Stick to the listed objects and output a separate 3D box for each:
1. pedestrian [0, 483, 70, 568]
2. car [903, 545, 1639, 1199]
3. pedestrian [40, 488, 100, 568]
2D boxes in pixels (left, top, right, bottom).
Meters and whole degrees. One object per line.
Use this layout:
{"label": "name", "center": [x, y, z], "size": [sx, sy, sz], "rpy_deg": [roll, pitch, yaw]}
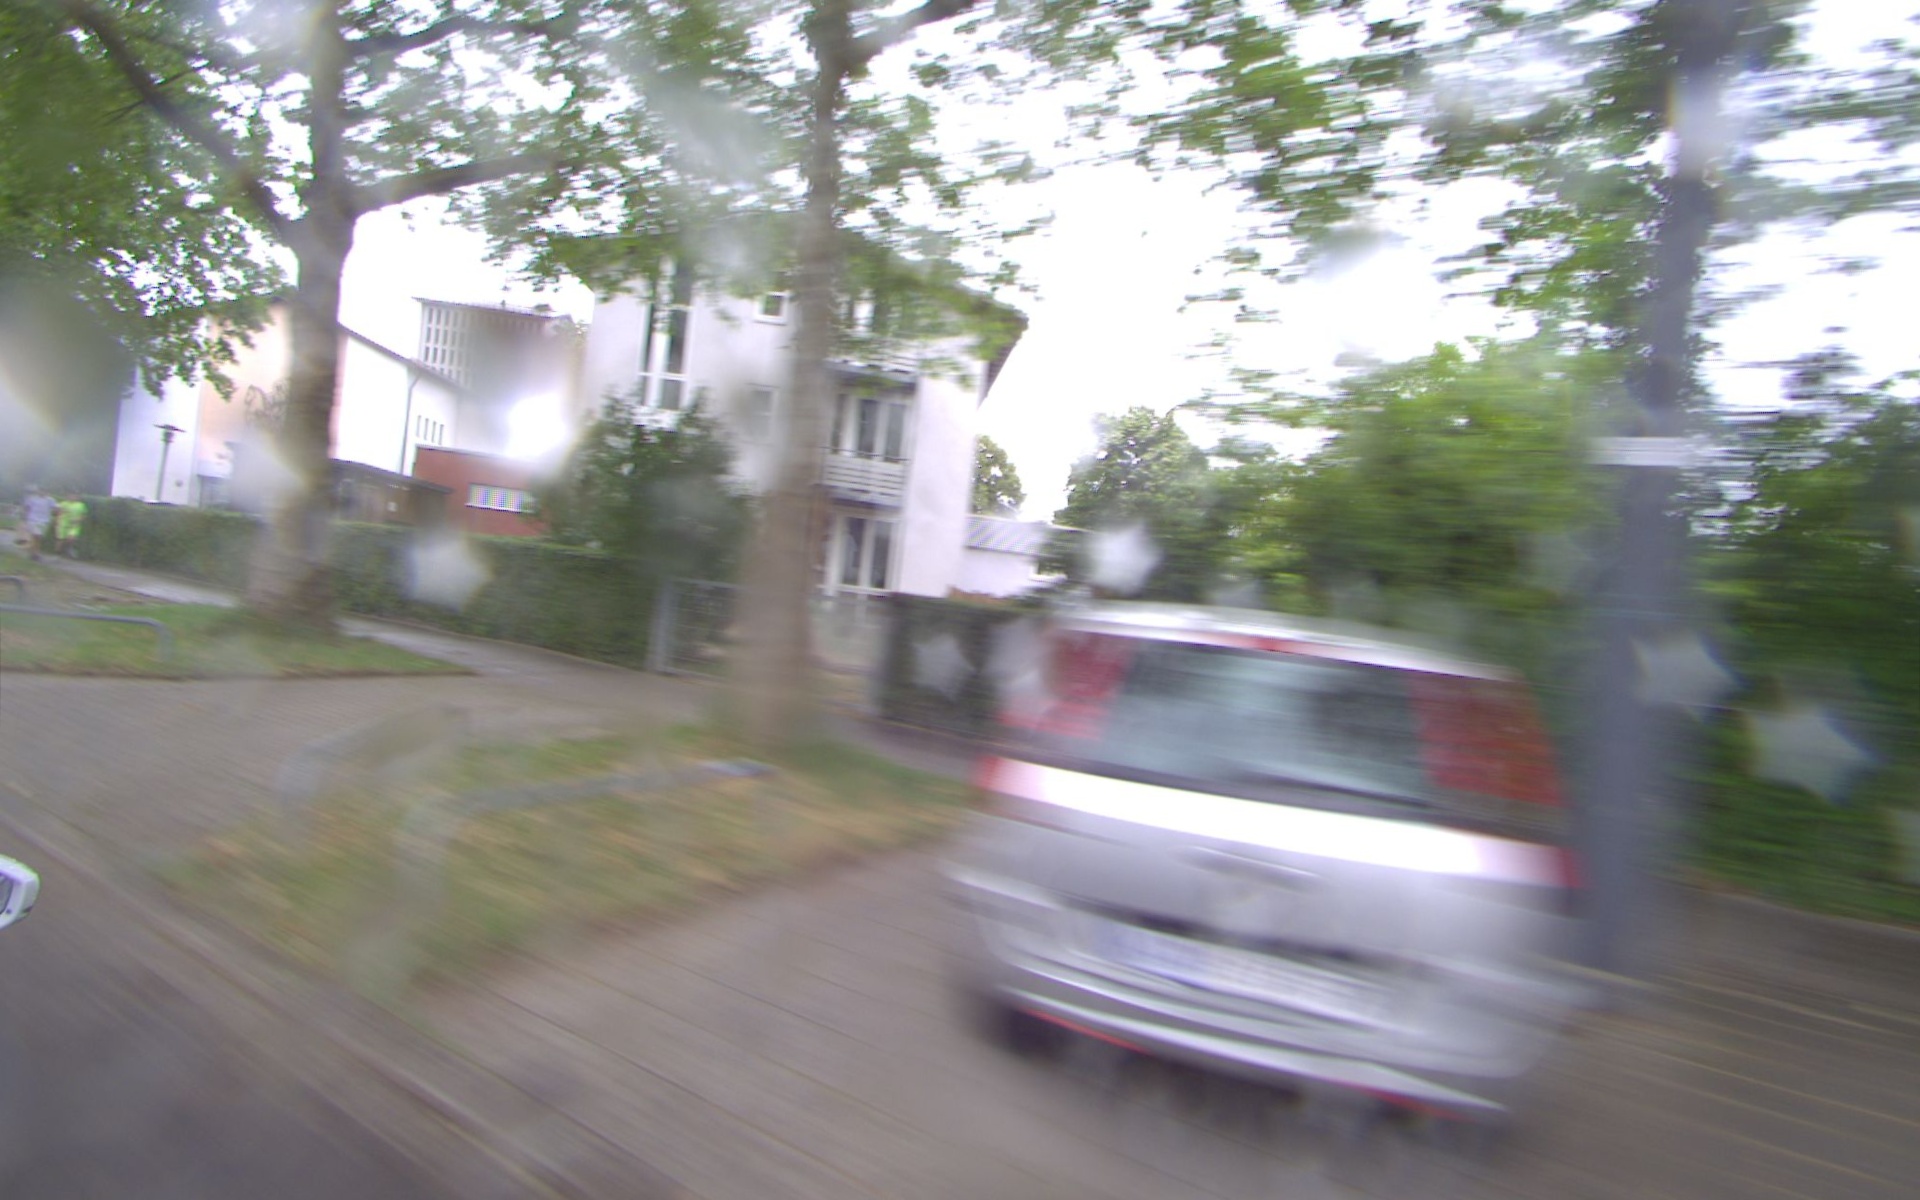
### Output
{"label": "pedestrian", "center": [-18.595, -1.491, 20.152], "size": [0.845, 1.558, 0.834], "rpy_deg": [7, 2, 28]}
{"label": "car", "center": [1.152, 0.753, 4.388], "size": [1.588, 1.586, 3.866], "rpy_deg": [7, 1, 14]}
{"label": "pedestrian", "center": [-18.761, -1.516, 21.204], "size": [0.950, 1.558, 0.557], "rpy_deg": [7, 1, 28]}
